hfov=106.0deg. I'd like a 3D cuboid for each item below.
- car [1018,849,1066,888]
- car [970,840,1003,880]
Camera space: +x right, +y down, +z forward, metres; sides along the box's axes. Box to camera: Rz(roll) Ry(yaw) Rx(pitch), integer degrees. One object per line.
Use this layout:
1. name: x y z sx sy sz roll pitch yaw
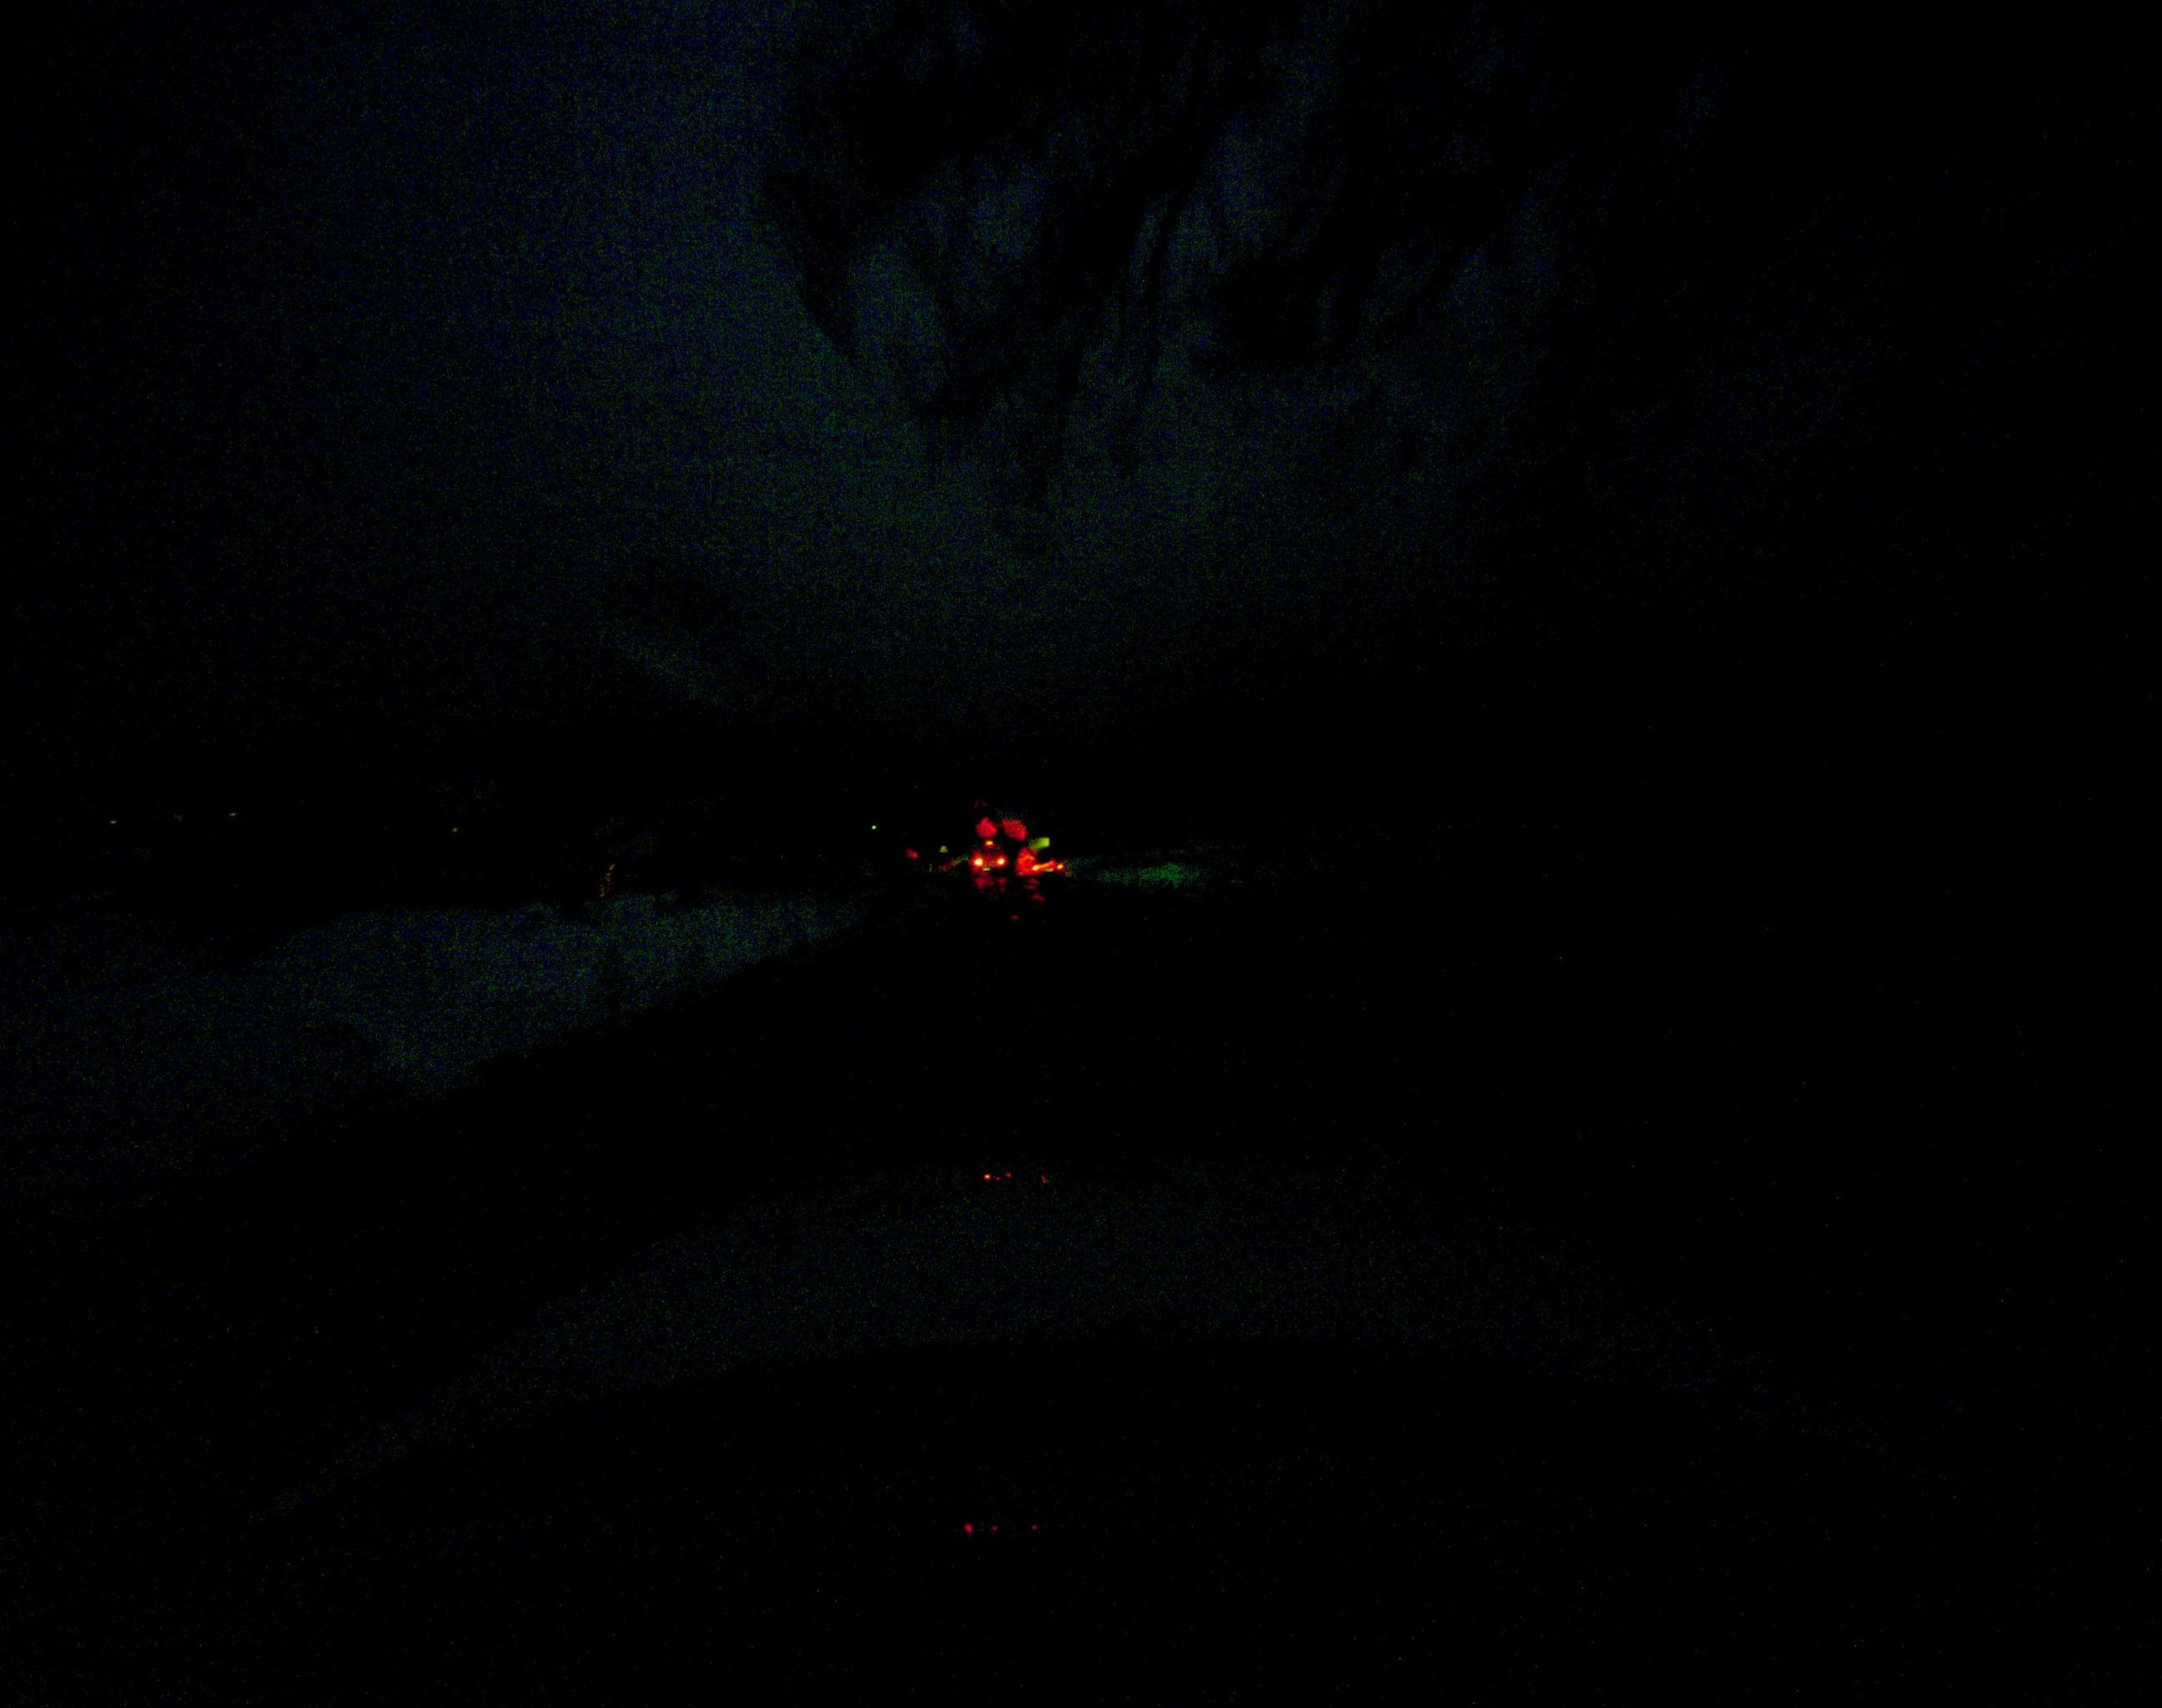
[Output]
1. car: -2.193 0.785 44.824 2.271 1.840 4.996 -3 0 -6
2. car: -7.666 0.534 65.635 2.434 3.019 5.309 -2 -1 -8
